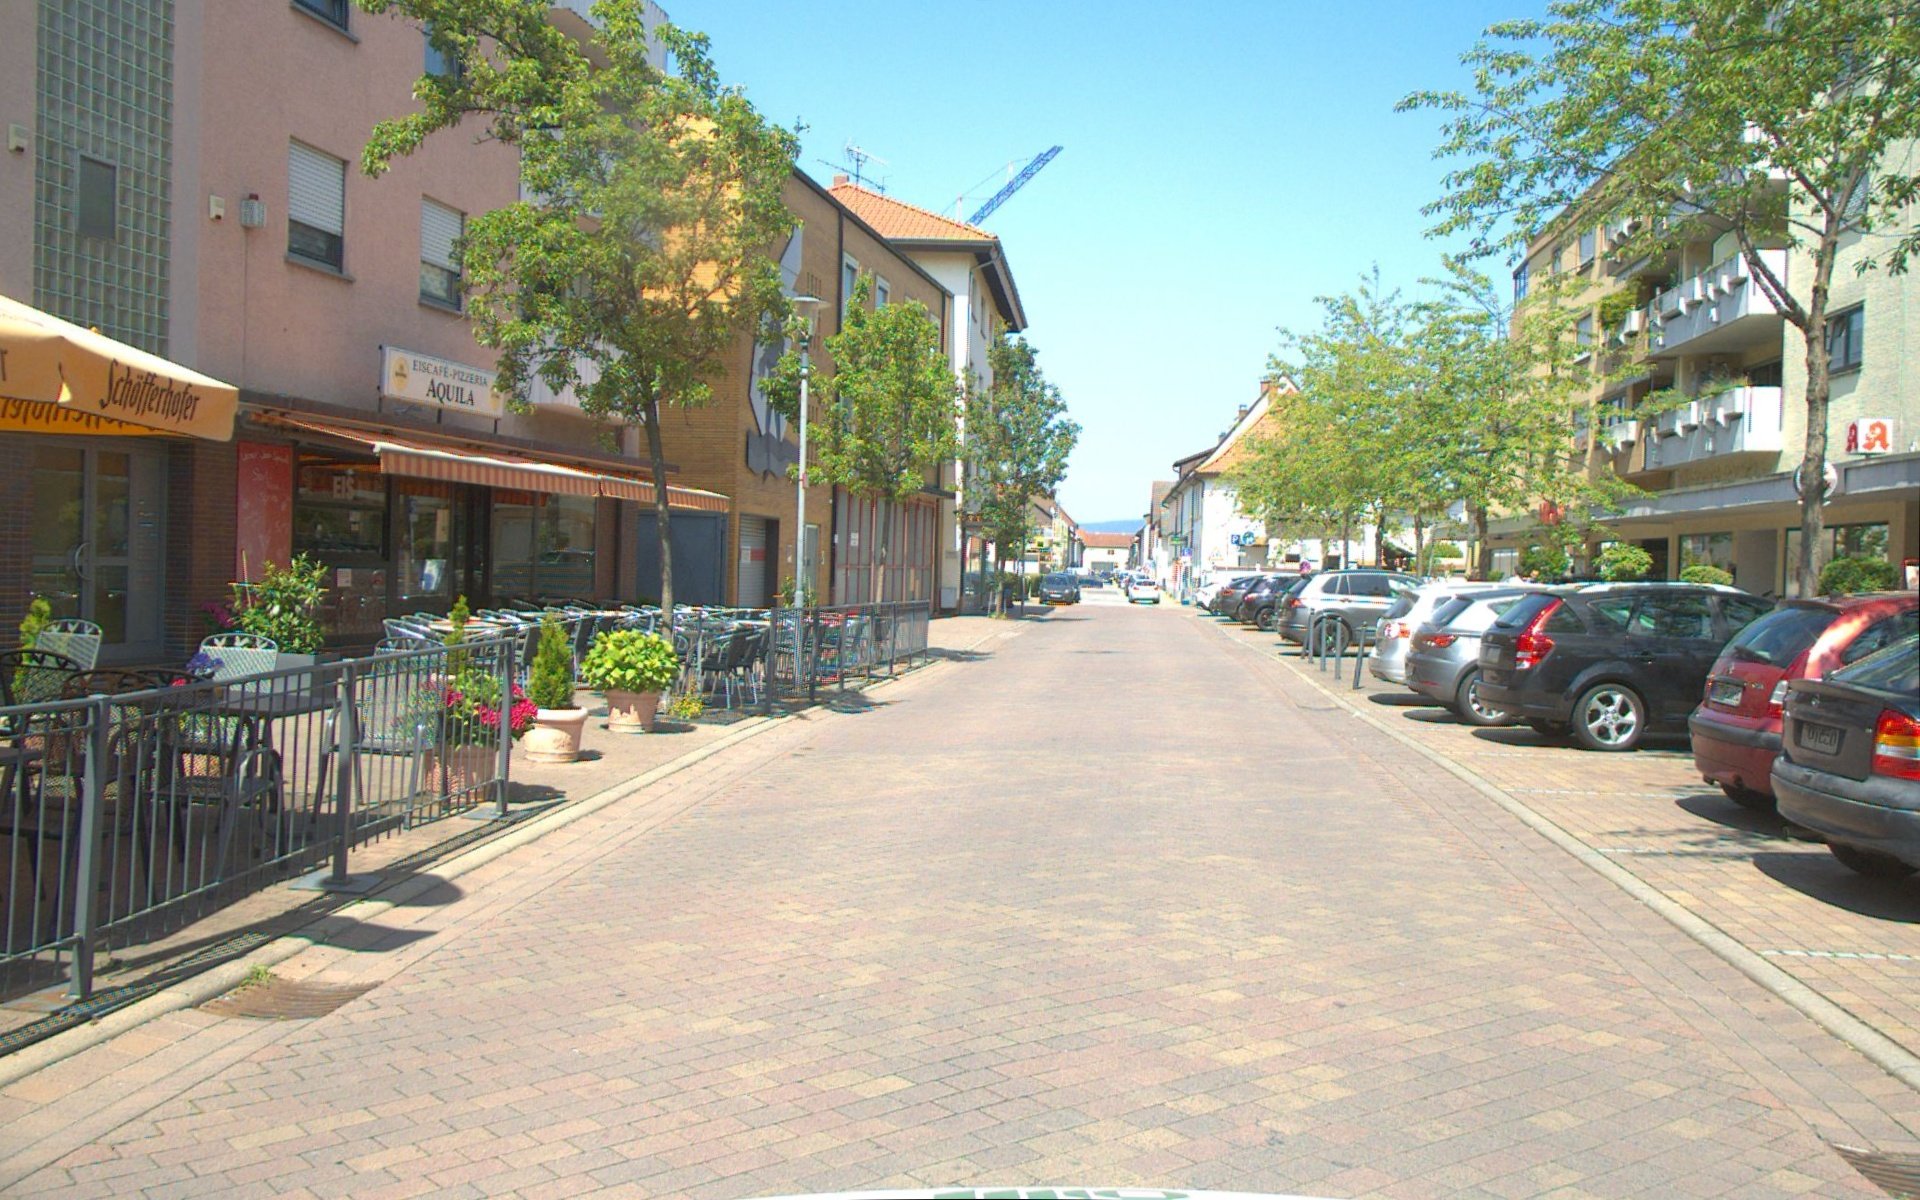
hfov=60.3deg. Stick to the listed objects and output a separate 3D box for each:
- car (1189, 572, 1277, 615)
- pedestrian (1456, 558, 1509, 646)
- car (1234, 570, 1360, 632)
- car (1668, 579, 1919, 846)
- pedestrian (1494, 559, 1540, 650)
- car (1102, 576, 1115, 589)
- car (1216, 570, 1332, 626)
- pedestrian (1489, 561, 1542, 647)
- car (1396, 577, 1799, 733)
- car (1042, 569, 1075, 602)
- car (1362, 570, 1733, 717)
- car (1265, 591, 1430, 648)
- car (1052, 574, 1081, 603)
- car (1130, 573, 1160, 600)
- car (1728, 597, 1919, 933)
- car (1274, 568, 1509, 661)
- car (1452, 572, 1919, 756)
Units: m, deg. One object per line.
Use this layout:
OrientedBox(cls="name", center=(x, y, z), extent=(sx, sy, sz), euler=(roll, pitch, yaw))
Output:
OrientedBox(cls="car", center=(11.393, -0.271, 69.154), extent=(3.406, 1.730, 1.536), euler=(1, 0, 1))
OrientedBox(cls="pedestrian", center=(11.105, 0.029, 35.187), extent=(0.820, 1.818, 0.807), euler=(1, 2, 0))
OrientedBox(cls="car", center=(9.958, 0.018, 49.077), extent=(3.447, 1.684, 1.712), euler=(2, 0, 5))
OrientedBox(cls="car", center=(6.700, 0.662, 10.550), extent=(3.644, 1.561, 1.767), euler=(0, 1, 6))
OrientedBox(cls="pedestrian", center=(11.475, 0.078, 34.090), extent=(0.820, 1.818, 0.807), euler=(2, 2, 18))
OrientedBox(cls="car", center=(20.072, -2.366, 223.375), extent=(1.710, 1.506, 3.632), euler=(2, 2, 7))
OrientedBox(cls="car", center=(9.961, -0.065, 52.650), extent=(3.447, 1.653, 1.712), euler=(2, 0, 5))
OrientedBox(cls="pedestrian", center=(11.983, 0.079, 35.696), extent=(0.820, 1.818, 0.807), euler=(1, 2, 0))
OrientedBox(cls="car", center=(6.837, 0.548, 18.131), extent=(3.853, 1.515, 1.717), euler=(1, 1, 11))
OrientedBox(cls="car", center=(5.066, -0.765, 84.997), extent=(1.476, 1.526, 3.830), euler=(2, 2, 6))
OrientedBox(cls="car", center=(7.246, 0.499, 20.771), extent=(4.065, 1.601, 1.760), euler=(2, 2, 7))
OrientedBox(cls="car", center=(8.818, 0.439, 37.783), extent=(3.449, 1.161, 1.274), euler=(2, 0, 2))
OrientedBox(cls="car", center=(6.238, -0.689, 96.906), extent=(1.476, 1.526, 3.830), euler=(2, 2, 6))
OrientedBox(cls="car", center=(11.518, -0.876, 103.276), extent=(1.792, 1.558, 3.949), euler=(2, 2, 6))
OrientedBox(cls="car", center=(6.199, 0.754, 8.144), extent=(4.010, 1.456, 1.785), euler=(0, 2, 5))
OrientedBox(cls="car", center=(8.258, 0.251, 31.905), extent=(4.154, 1.643, 1.559), euler=(2, 1, 5))
OrientedBox(cls="car", center=(7.065, 0.564, 15.899), extent=(4.095, 1.568, 1.947), euler=(1, 1, 2))
